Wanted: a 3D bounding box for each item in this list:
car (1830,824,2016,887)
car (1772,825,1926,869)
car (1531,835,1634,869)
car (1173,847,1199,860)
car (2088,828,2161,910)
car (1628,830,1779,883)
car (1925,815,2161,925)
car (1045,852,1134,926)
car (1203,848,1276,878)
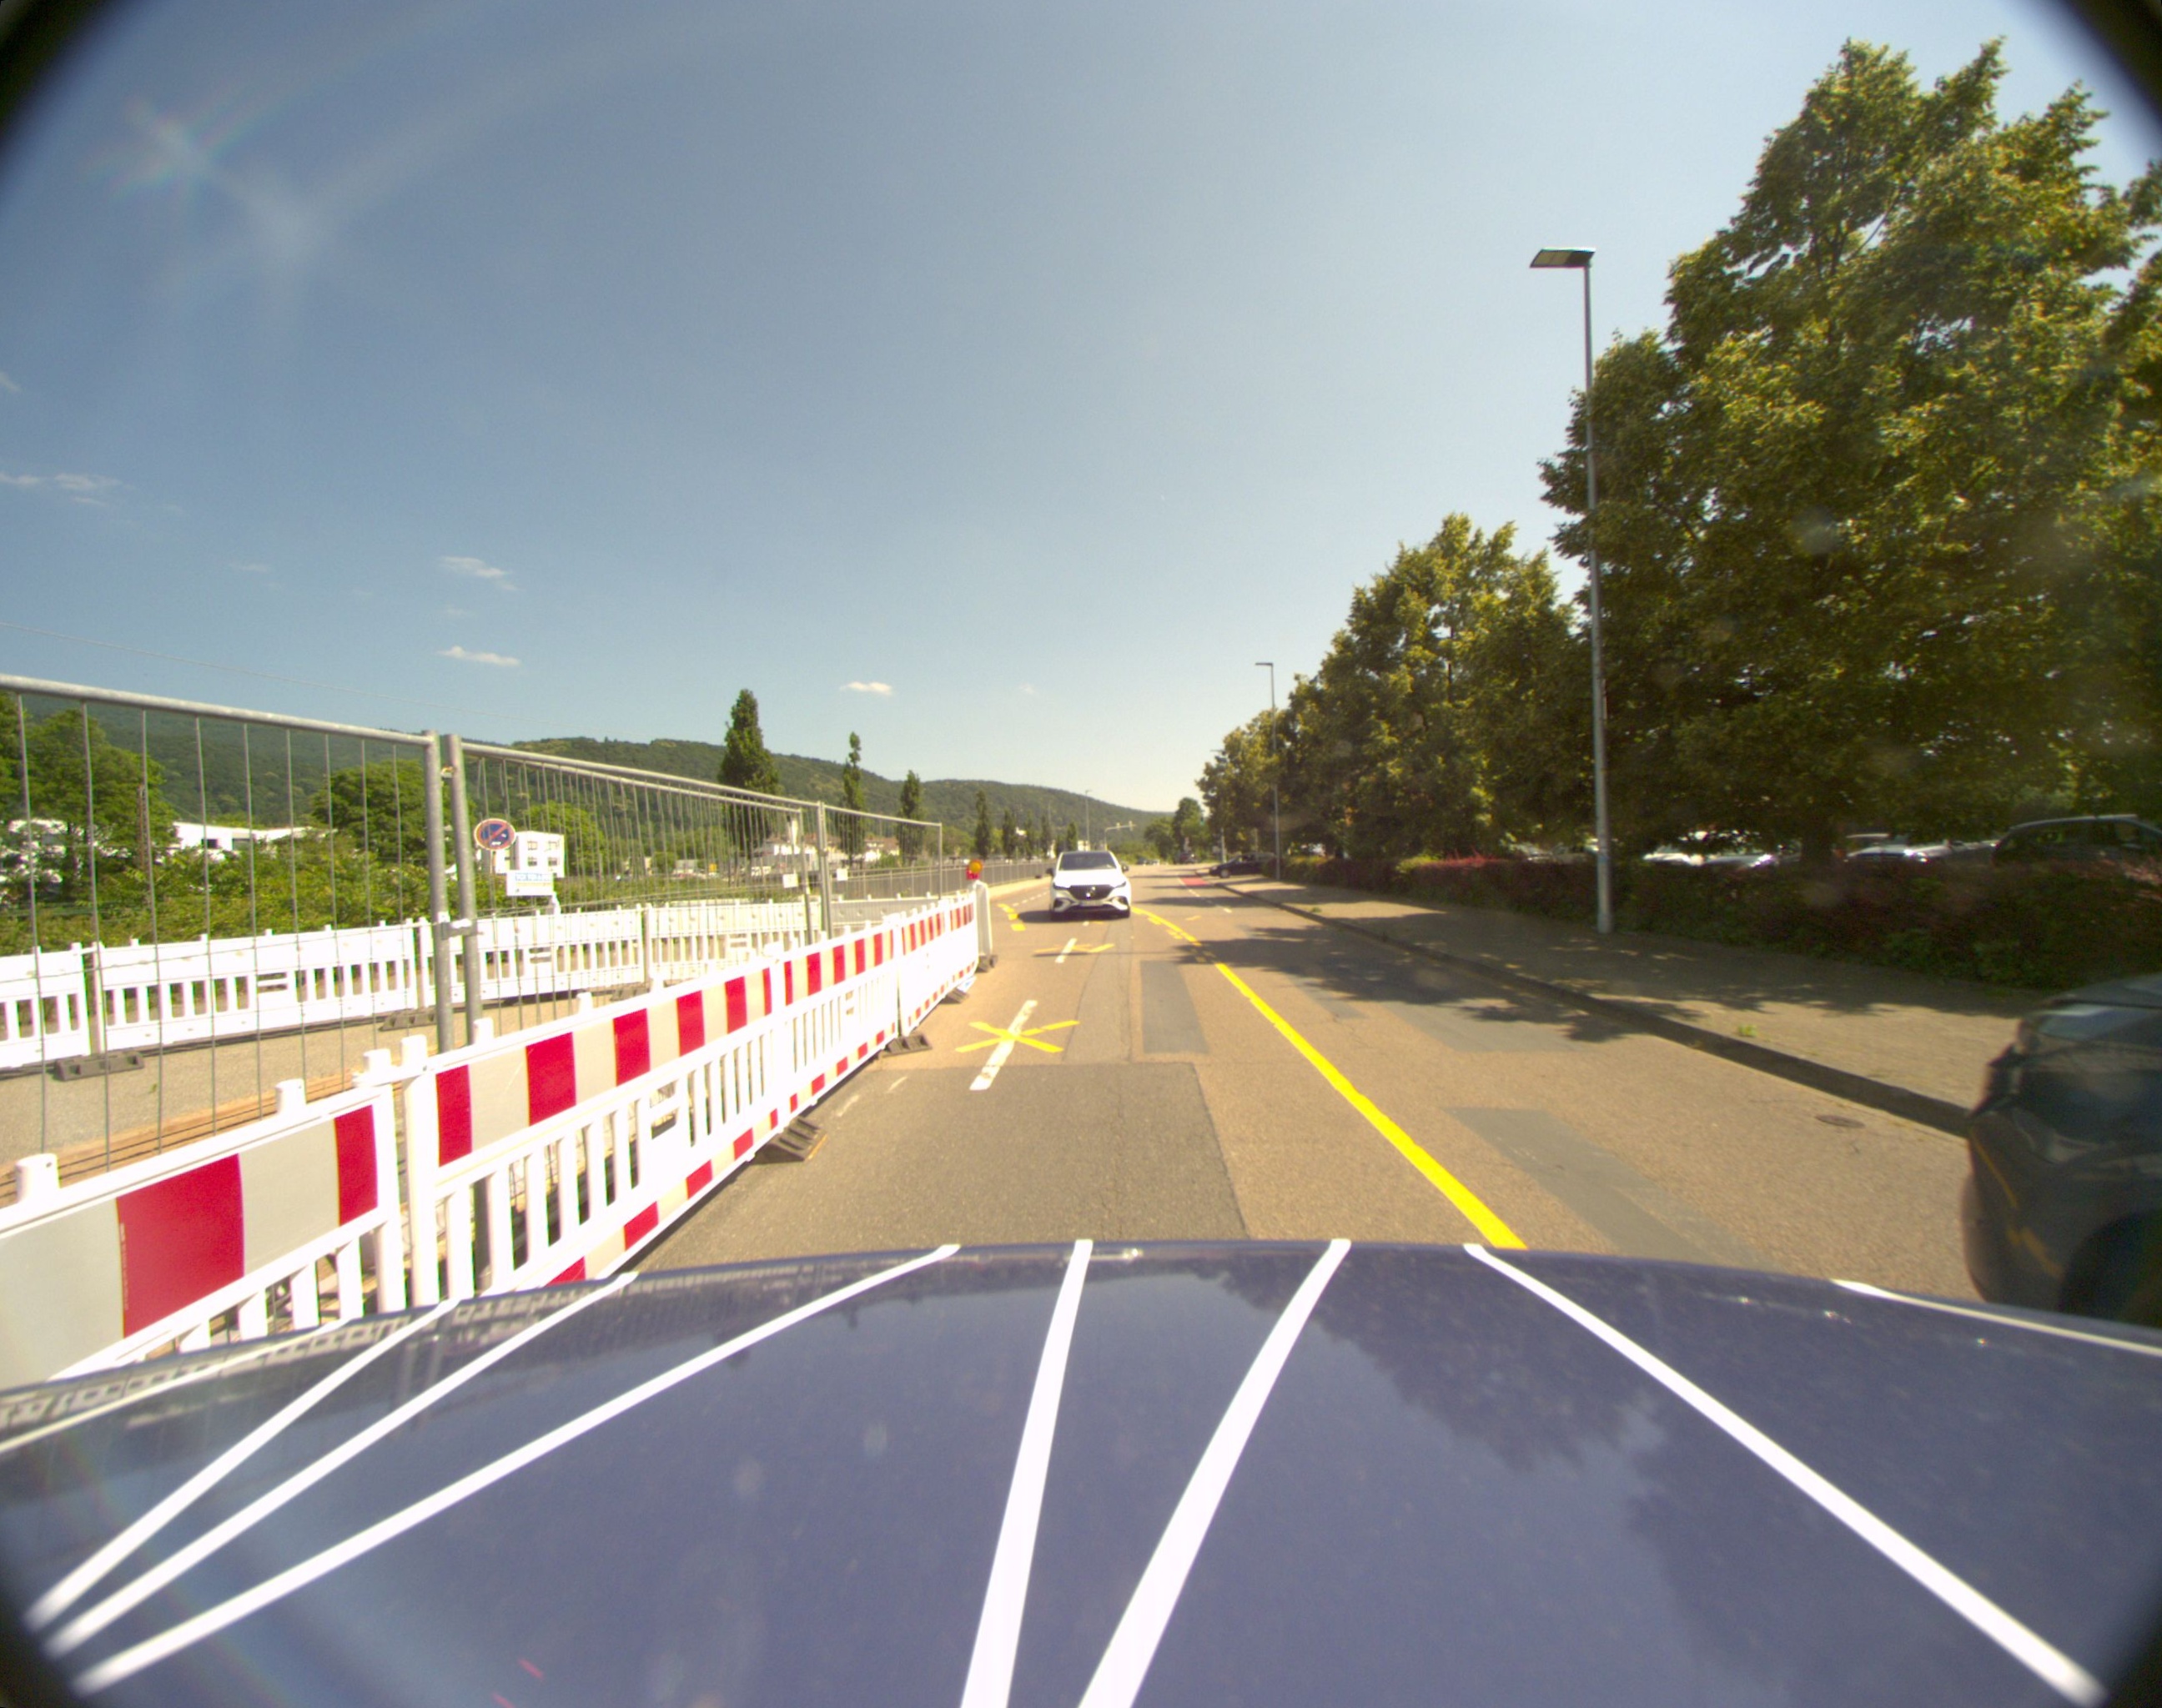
[{"bbox_3d":[24.882,0.025,22.491,4.369,1.676,1.860,-2,0,-15],"label":"car"},{"bbox_3d":[33.445,-0.263,33.281,1.862,1.676,4.363,-4,1,-11],"label":"car"},{"bbox_3d":[25.212,-0.074,38.377,1.921,1.543,4.137,-2,0,-13],"label":"car"},{"bbox_3d":[14.022,-0.103,101.859,2.000,1.635,4.523,-1,0,-11],"label":"car"},{"bbox_3d":[19.899,0.263,12.128,1.861,1.444,4.367,0,0,1],"label":"car"},{"bbox_3d":[21.981,0.065,26.876,4.314,1.676,1.860,-2,0,-14],"label":"car"},{"bbox_3d":[17.393,0.235,12.645,1.861,1.676,4.367,0,0,1],"label":"car"},{"bbox_3d":[0.225,0.809,20.076,1.998,1.635,5.031,-2,0,0],"label":"car"},{"bbox_3d":[9.333,0.510,44.965,3.995,1.455,1.881,-4,1,7],"label":"car"}]
